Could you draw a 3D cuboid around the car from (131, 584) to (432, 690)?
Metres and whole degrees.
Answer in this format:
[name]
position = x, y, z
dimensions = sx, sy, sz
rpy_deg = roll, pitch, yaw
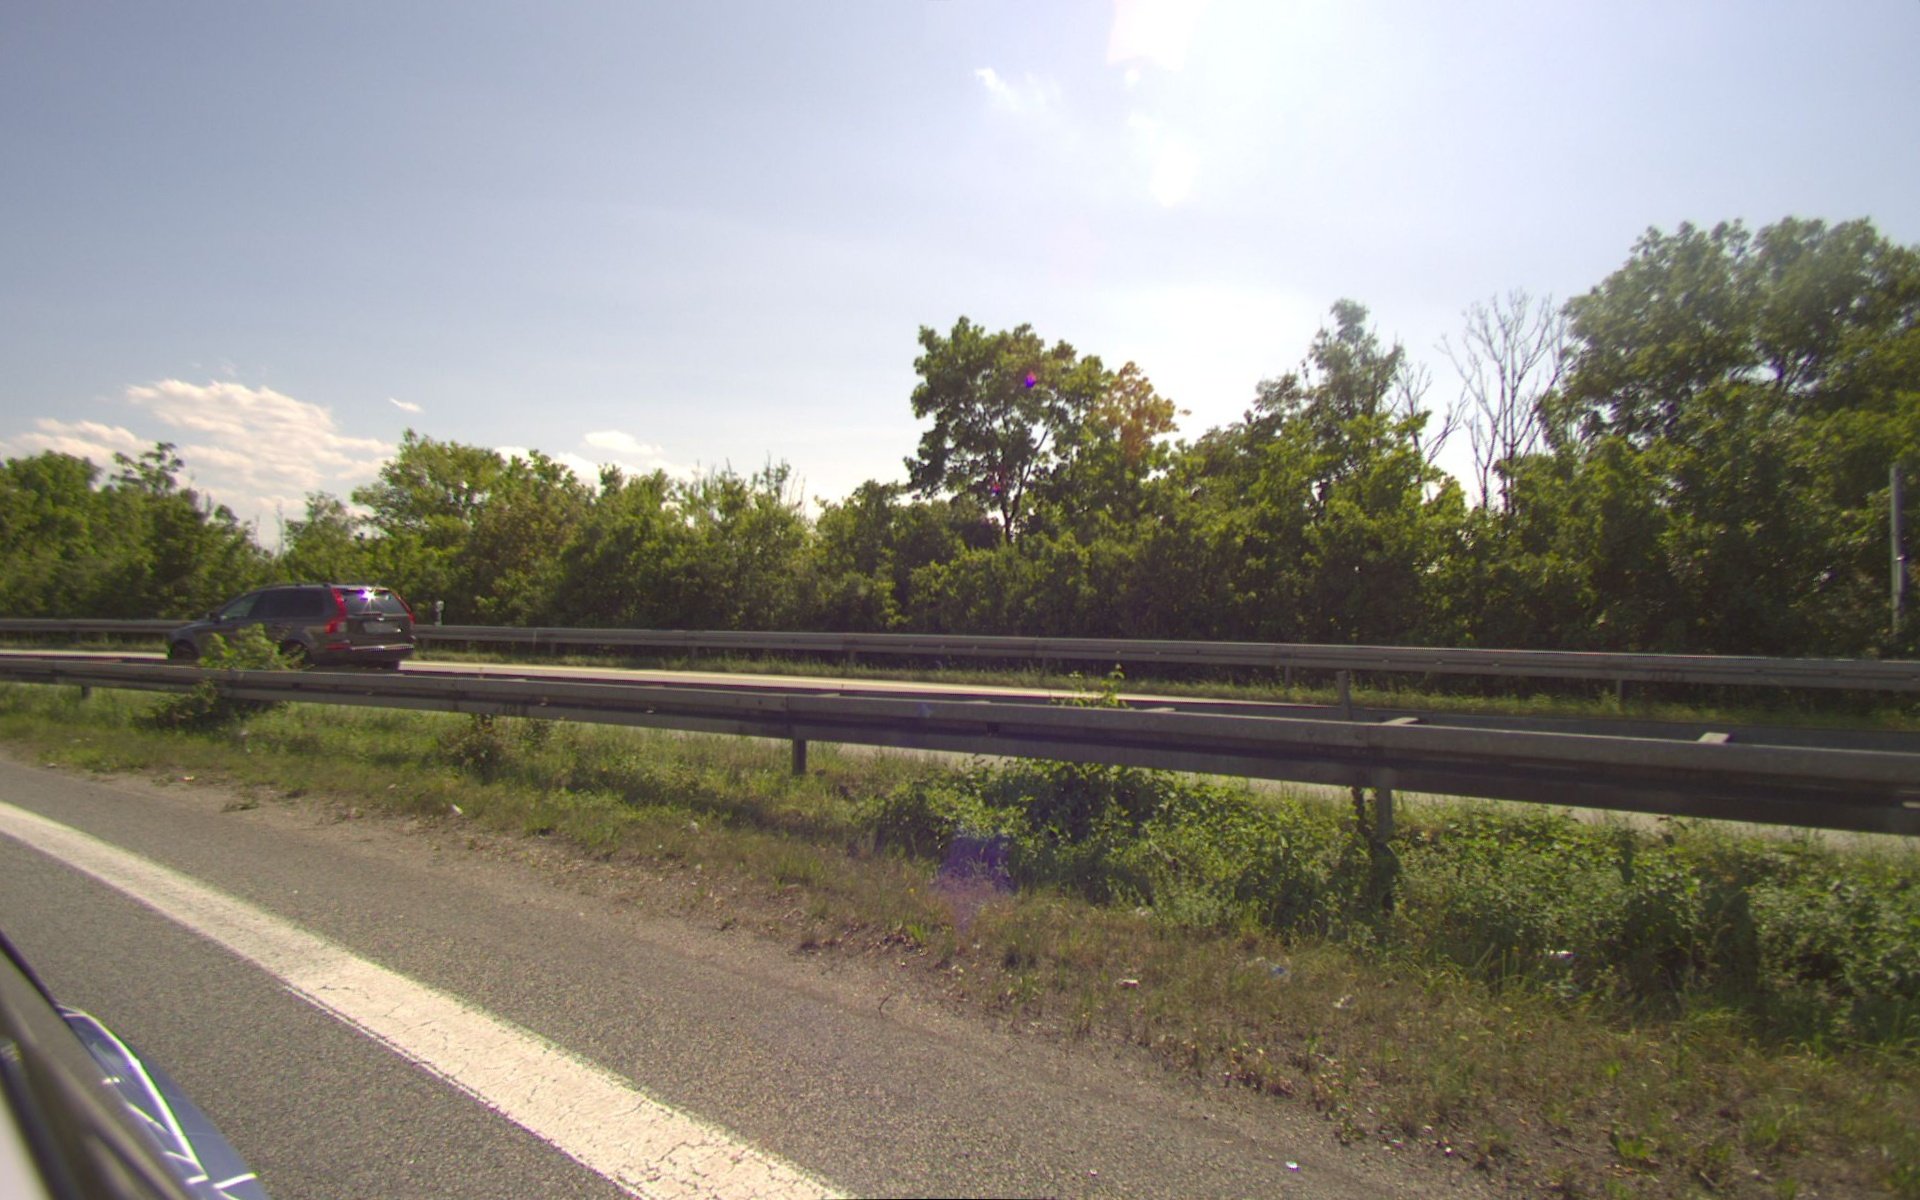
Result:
[car]
position = -12.449, 0.632, 18.561
dimensions = 5.159, 1.744, 1.986
rpy_deg = 0, 0, 21
